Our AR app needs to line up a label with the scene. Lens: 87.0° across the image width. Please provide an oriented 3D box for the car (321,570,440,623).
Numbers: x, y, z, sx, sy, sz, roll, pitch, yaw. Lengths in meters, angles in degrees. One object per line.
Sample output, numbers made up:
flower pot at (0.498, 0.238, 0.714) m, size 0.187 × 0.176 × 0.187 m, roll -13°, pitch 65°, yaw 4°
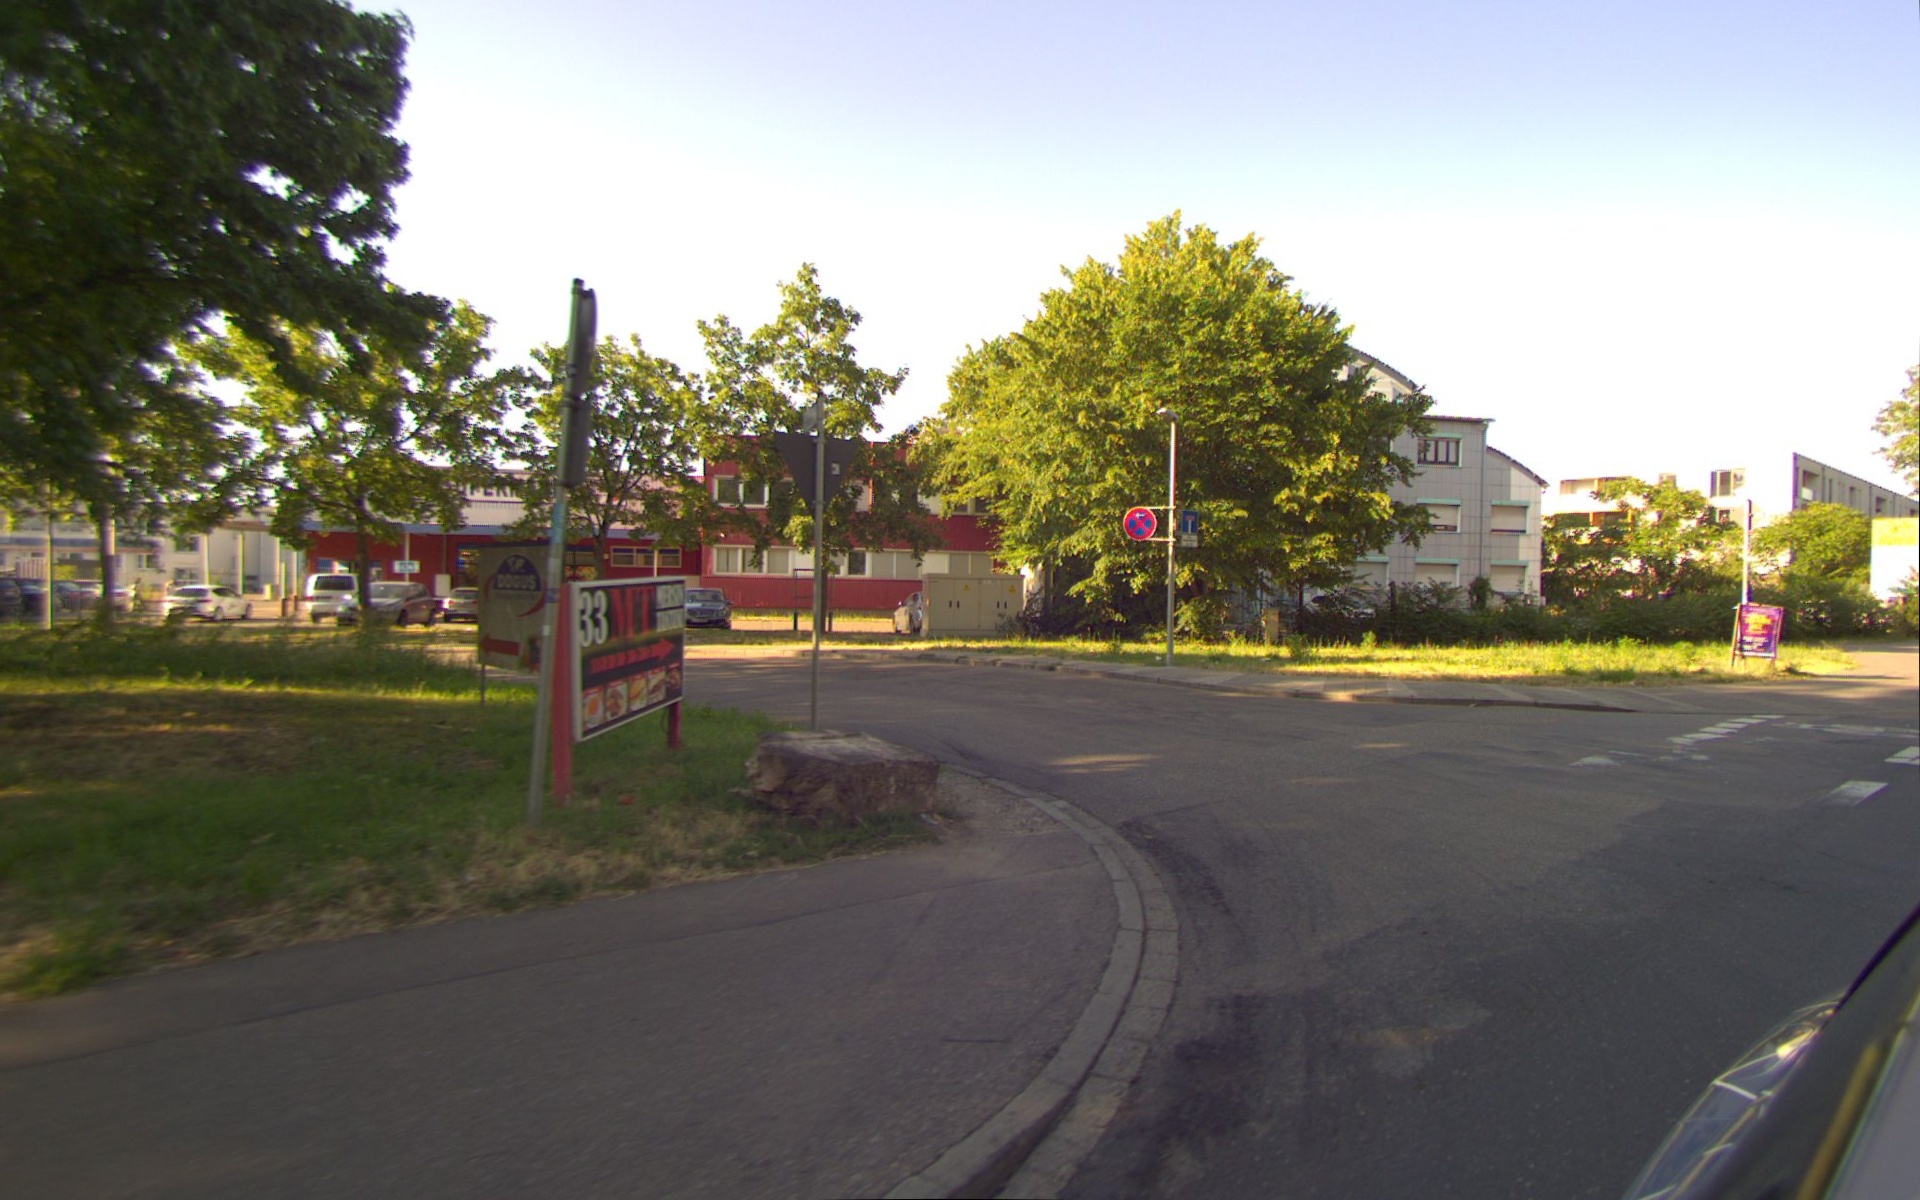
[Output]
car at (-17.539, -0.061, 30.844) m, size 1.752 × 1.495 × 4.202 m, roll 0°, pitch -1°, yaw -9°

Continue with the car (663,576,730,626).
car at (-8.442, 0.058, 32.769) m, size 1.752 × 1.495 × 4.675 m, roll 0°, pitch -1°, yaw -10°

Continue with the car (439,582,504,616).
car at (-20.752, -0.003, 43.086) m, size 1.650 × 1.368 × 3.558 m, roll 0°, pitch -1°, yaw -11°

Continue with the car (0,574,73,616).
car at (-40.241, -0.193, 42.800) m, size 3.786 × 1.710 × 1.704 m, roll 0°, pitch -1°, yaw -7°

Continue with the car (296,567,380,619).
car at (-25.476, -0.230, 41.599) m, size 1.852 × 2.000 × 4.656 m, roll 0°, pitch -1°, yaw -17°

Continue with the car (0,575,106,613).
car at (-42.263, -0.247, 47.020) m, size 3.573 × 1.710 × 1.704 m, roll 0°, pitch -1°, yaw -7°

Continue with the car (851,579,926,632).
car at (-2.424, 0.147, 33.339) m, size 1.958 × 1.614 × 4.453 m, roll 0°, pitch 0°, yaw -11°

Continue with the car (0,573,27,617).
car at (-40.037, -0.187, 40.409) m, size 3.786 × 1.710 × 1.704 m, roll 0°, pitch -1°, yaw -7°

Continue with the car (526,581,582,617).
car at (-17.851, -0.032, 44.634) m, size 1.650 × 1.521 × 3.558 m, roll 0°, pitch -1°, yaw -11°

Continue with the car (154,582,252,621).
car at (-30.517, 0.079, 40.914) m, size 1.650 × 1.501 × 3.951 m, roll 0°, pitch -1°, yaw -12°

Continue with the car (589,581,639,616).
car at (-15.224, -0.041, 44.690) m, size 1.650 × 1.444 × 3.558 m, roll 0°, pitch -1°, yaw -11°

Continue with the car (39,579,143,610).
car at (-42.969, -0.251, 50.102) m, size 3.573 × 1.481 × 1.704 m, roll 0°, pitch -1°, yaw -7°

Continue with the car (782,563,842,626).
car at (-4.744, -0.215, 32.108) m, size 1.671 × 1.841 × 4.454 m, roll 0°, pitch 1°, yaw -11°

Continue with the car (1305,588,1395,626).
car at (18.140, 0.279, 47.254) m, size 1.869 × 1.593 × 4.010 m, roll 0°, pitch 2°, yaw -16°
